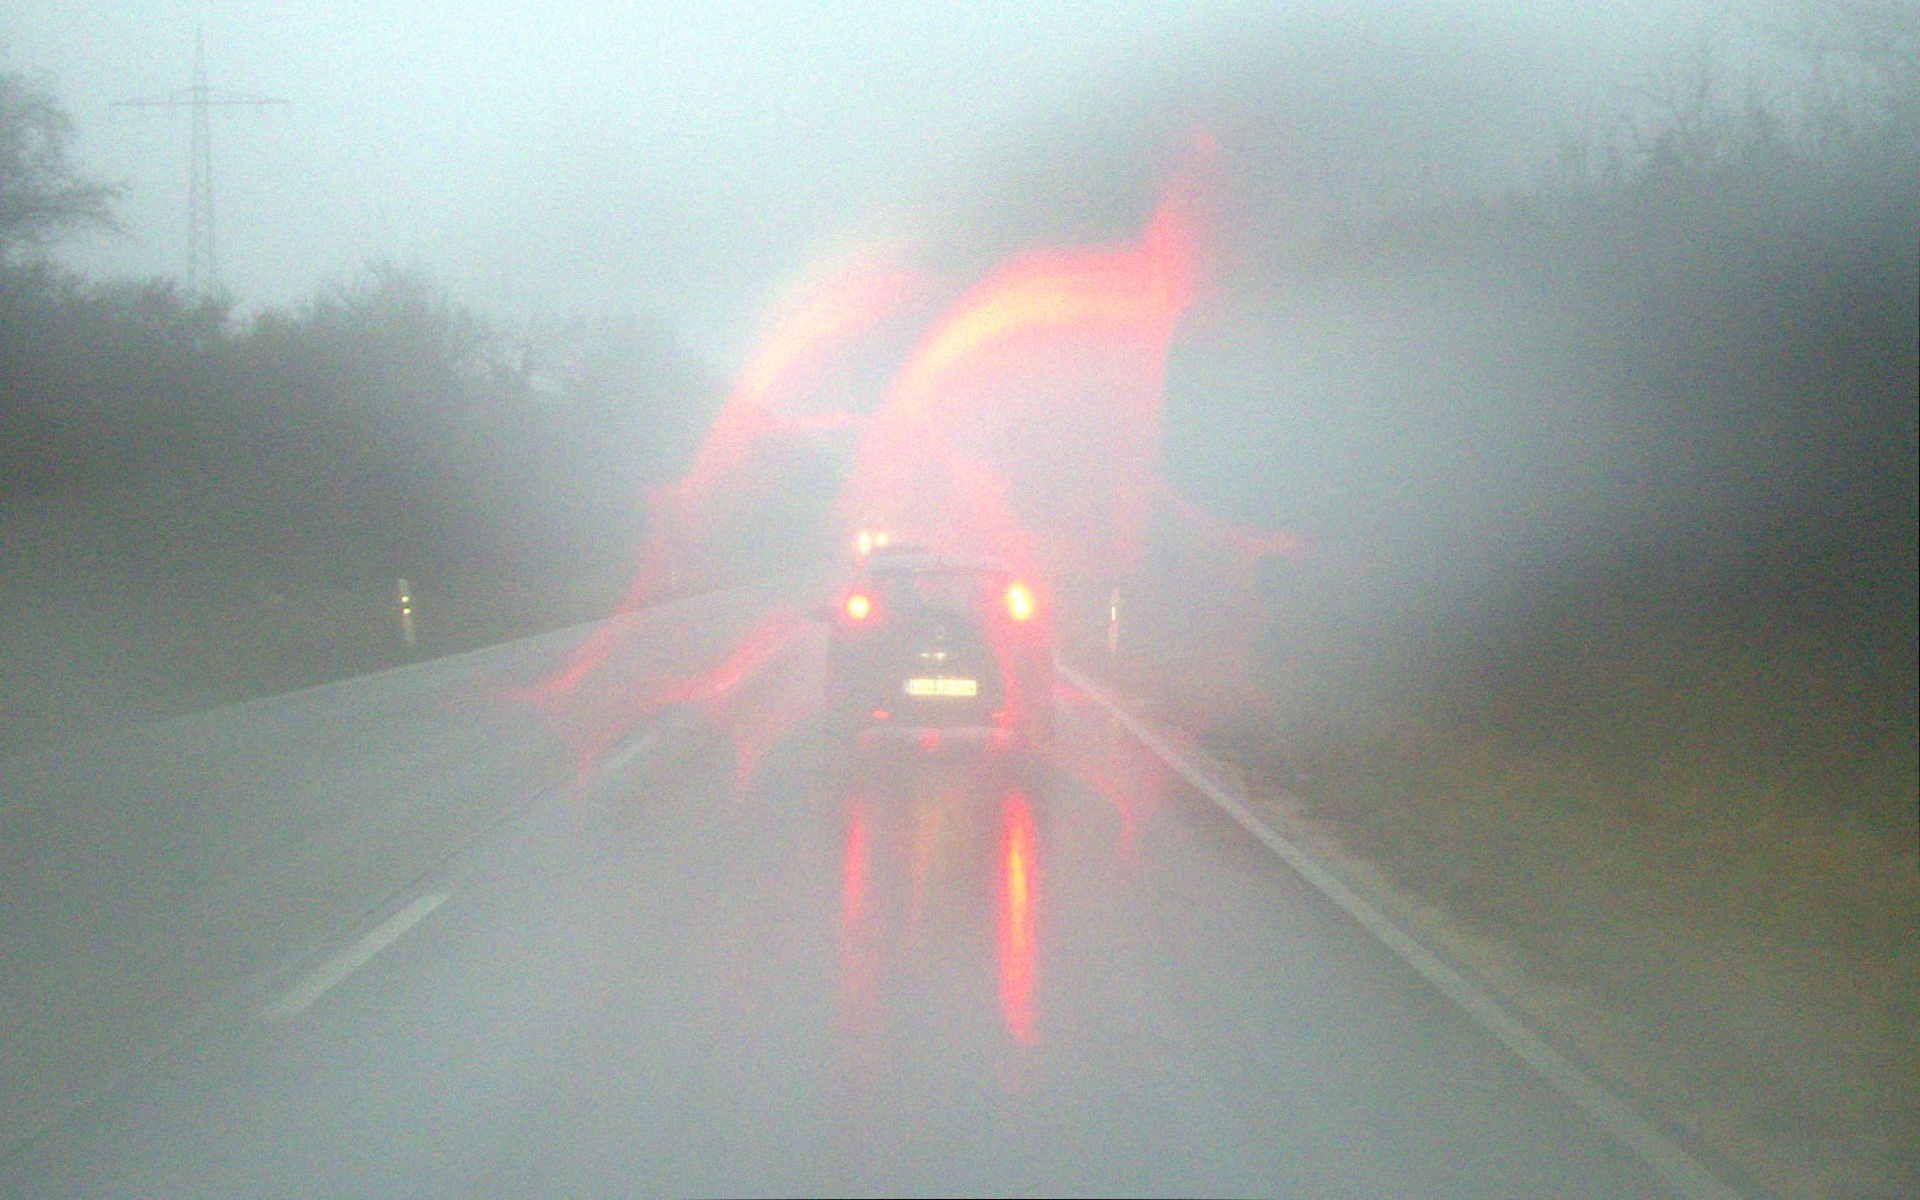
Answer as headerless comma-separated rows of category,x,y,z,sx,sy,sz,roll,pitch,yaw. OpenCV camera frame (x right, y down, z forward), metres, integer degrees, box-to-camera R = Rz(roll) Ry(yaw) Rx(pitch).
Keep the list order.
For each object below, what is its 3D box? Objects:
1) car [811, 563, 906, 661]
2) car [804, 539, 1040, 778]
car,-1.929,0.201,66.046,1.733,1.773,4.000,1,1,-1
car,-0.290,0.393,26.174,1.648,1.666,3.514,1,1,-1
